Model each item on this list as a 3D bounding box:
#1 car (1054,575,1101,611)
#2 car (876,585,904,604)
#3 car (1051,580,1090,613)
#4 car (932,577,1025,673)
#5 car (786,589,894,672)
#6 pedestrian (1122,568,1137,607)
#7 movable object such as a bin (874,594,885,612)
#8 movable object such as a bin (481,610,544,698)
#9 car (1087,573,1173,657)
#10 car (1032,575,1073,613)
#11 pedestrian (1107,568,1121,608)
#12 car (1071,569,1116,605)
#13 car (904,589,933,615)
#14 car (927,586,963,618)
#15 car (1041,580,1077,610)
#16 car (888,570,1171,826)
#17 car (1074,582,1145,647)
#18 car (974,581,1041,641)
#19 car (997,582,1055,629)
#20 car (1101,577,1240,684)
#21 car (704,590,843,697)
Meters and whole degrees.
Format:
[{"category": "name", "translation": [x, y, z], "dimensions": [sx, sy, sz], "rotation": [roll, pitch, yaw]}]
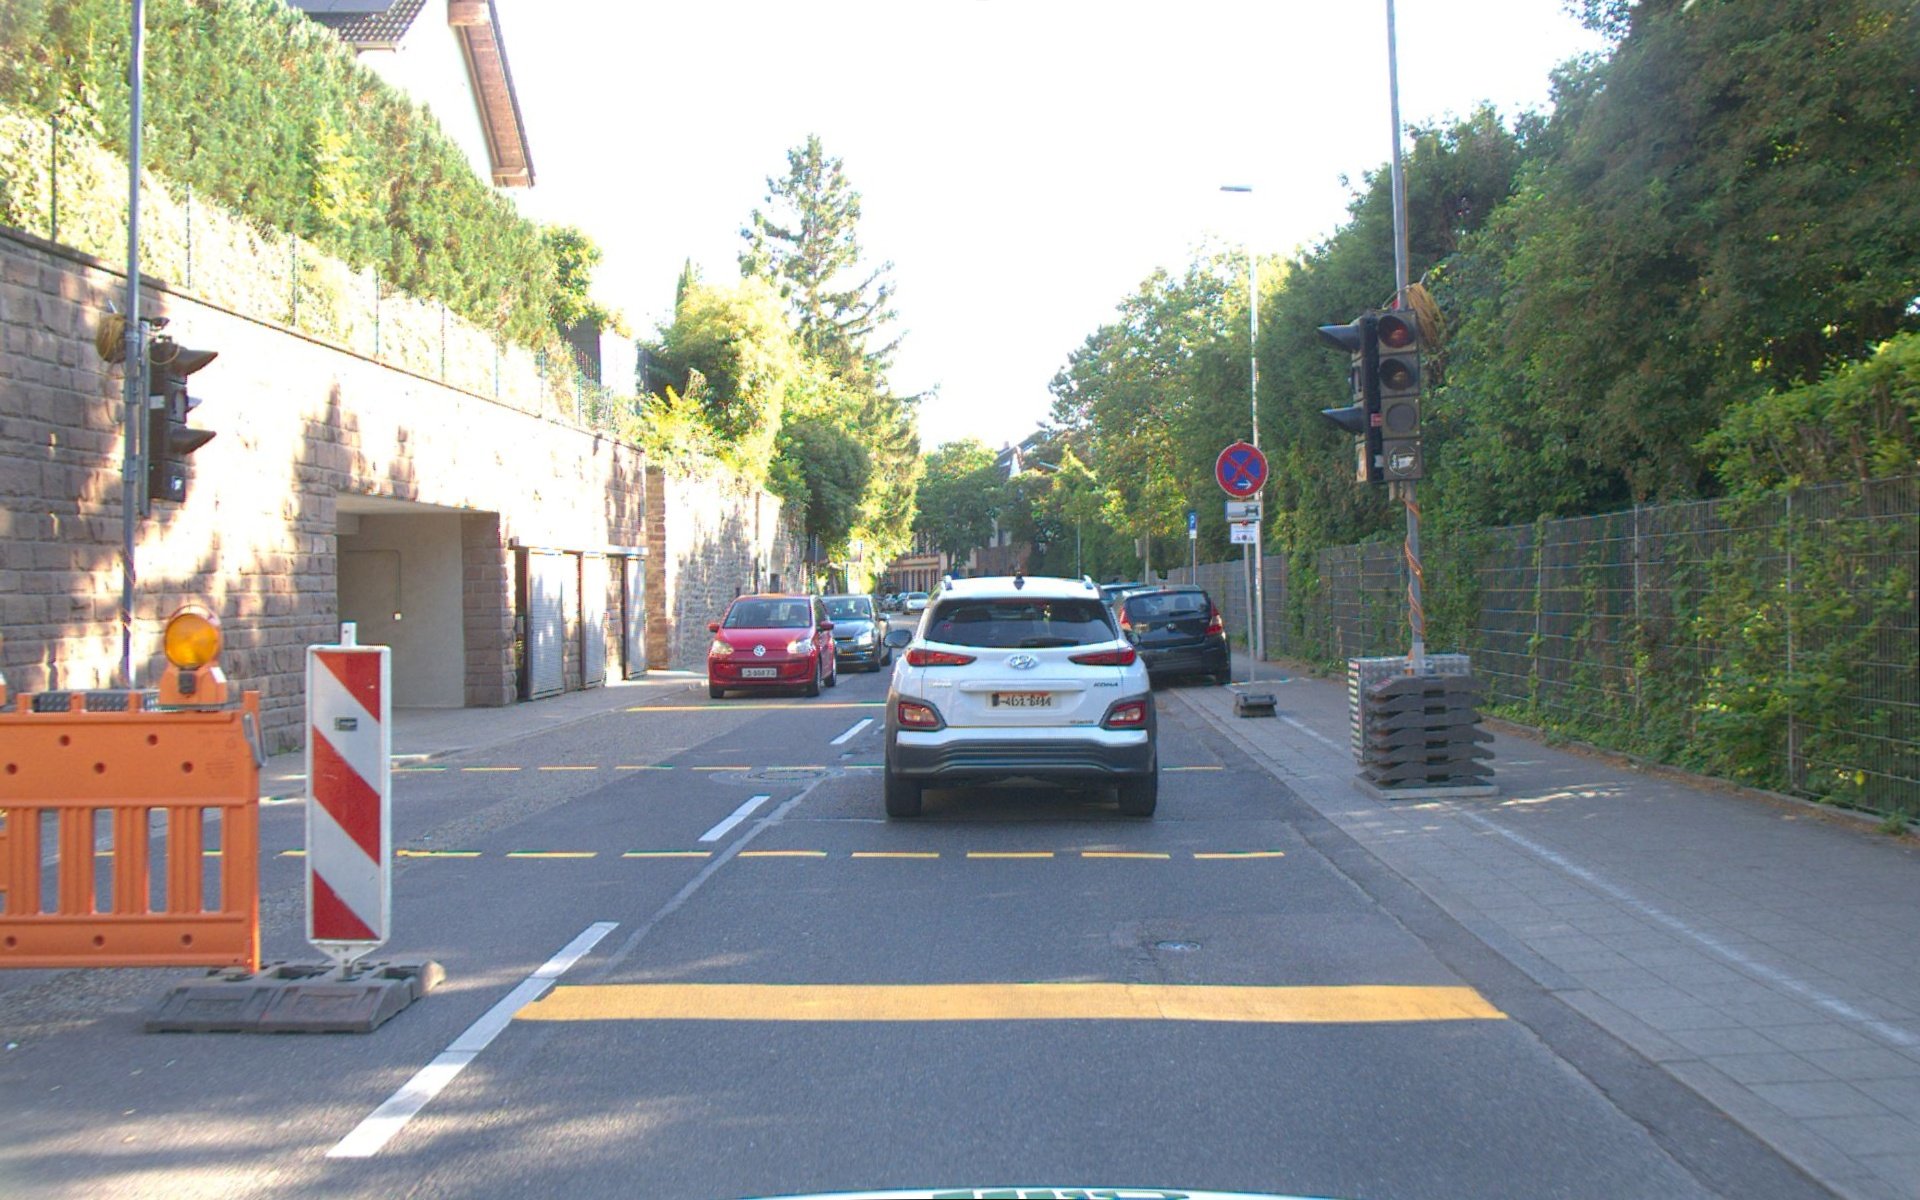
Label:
[{"category": "car", "translation": [5.638, -0.327, 79.541], "dimensions": [1.563, 1.592, 3.995], "rotation": [-3, 0, -5]}, {"category": "car", "translation": [-6.190, -0.518, 145.449], "dimensions": [1.726, 1.645, 3.985], "rotation": [0, 1, -14]}, {"category": "car", "translation": [5.624, -0.200, 84.609], "dimensions": [1.561, 1.545, 3.931], "rotation": [-4, 0, -2]}, {"category": "car", "translation": [0.378, 0.402, 29.478], "dimensions": [1.480, 1.559, 3.549], "rotation": [-1, 1, 3]}, {"category": "car", "translation": [-2.249, 0.543, 31.869], "dimensions": [1.615, 1.435, 3.932], "rotation": [-2, 0, 2]}, {"category": "pedestrian", "translation": [6.990, -0.519, 68.158], "dimensions": [0.492, 1.596, 0.504], "rotation": [-3, 0, 3]}, {"category": "movable object such as a bin", "translation": [-4.509, 0.174, 92.373], "dimensions": [0.485, 1.029, 1.113], "rotation": [0, 0, 3]}, {"category": "movable object such as a bin", "translation": [-6.298, 0.756, 23.320], "dimensions": [0.644, 1.196, 0.666], "rotation": [-2, 0, 3]}, {"category": "car", "translation": [3.617, 0.304, 35.519], "dimensions": [1.619, 1.591, 2.874], "rotation": [-6, 0, 5]}, {"category": "car", "translation": [4.090, -0.268, 73.420], "dimensions": [1.659, 1.472, 3.883], "rotation": [-4, 2, 2]}, {"category": "pedestrian", "translation": [6.371, -0.507, 68.462], "dimensions": [0.492, 1.634, 0.491], "rotation": [-3, 0, 3]}, {"category": "car", "translation": [5.968, -0.593, 74.530], "dimensions": [1.652, 1.456, 4.000], "rotation": [-3, 0, 0]}, {"category": "car", "translation": [-2.704, 0.142, 107.341], "dimensions": [1.707, 1.500, 3.997], "rotation": [-5, 0, -3]}, {"category": "car", "translation": [-0.725, 0.089, 82.453], "dimensions": [1.518, 1.491, 3.570], "rotation": [-3, 0, 3]}, {"category": "car", "translation": [5.379, -0.306, 90.409], "dimensions": [1.561, 1.515, 3.601], "rotation": [-4, 1, -2]}, {"category": "car", "translation": [0.422, 0.587, 12.121], "dimensions": [1.736, 1.569, 4.000], "rotation": [0, 0, 0]}, {"category": "car", "translation": [3.781, 0.331, 41.967], "dimensions": [1.674, 1.524, 4.817], "rotation": [1, 1, 5]}, {"category": "car", "translation": [1.269, 0.260, 42.968], "dimensions": [1.537, 1.503, 3.550], "rotation": [0, 1, 5]}, {"category": "car", "translation": [2.336, 0.165, 57.655], "dimensions": [1.657, 1.560, 3.885], "rotation": [-1, 0, 8]}, {"category": "car", "translation": [3.140, 0.412, 25.317], "dimensions": [1.757, 1.466, 4.002], "rotation": [-2, 1, 2]}, {"category": "car", "translation": [-2.733, 0.598, 24.870], "dimensions": [1.593, 1.446, 3.563], "rotation": [-2, 0, 1]}]
